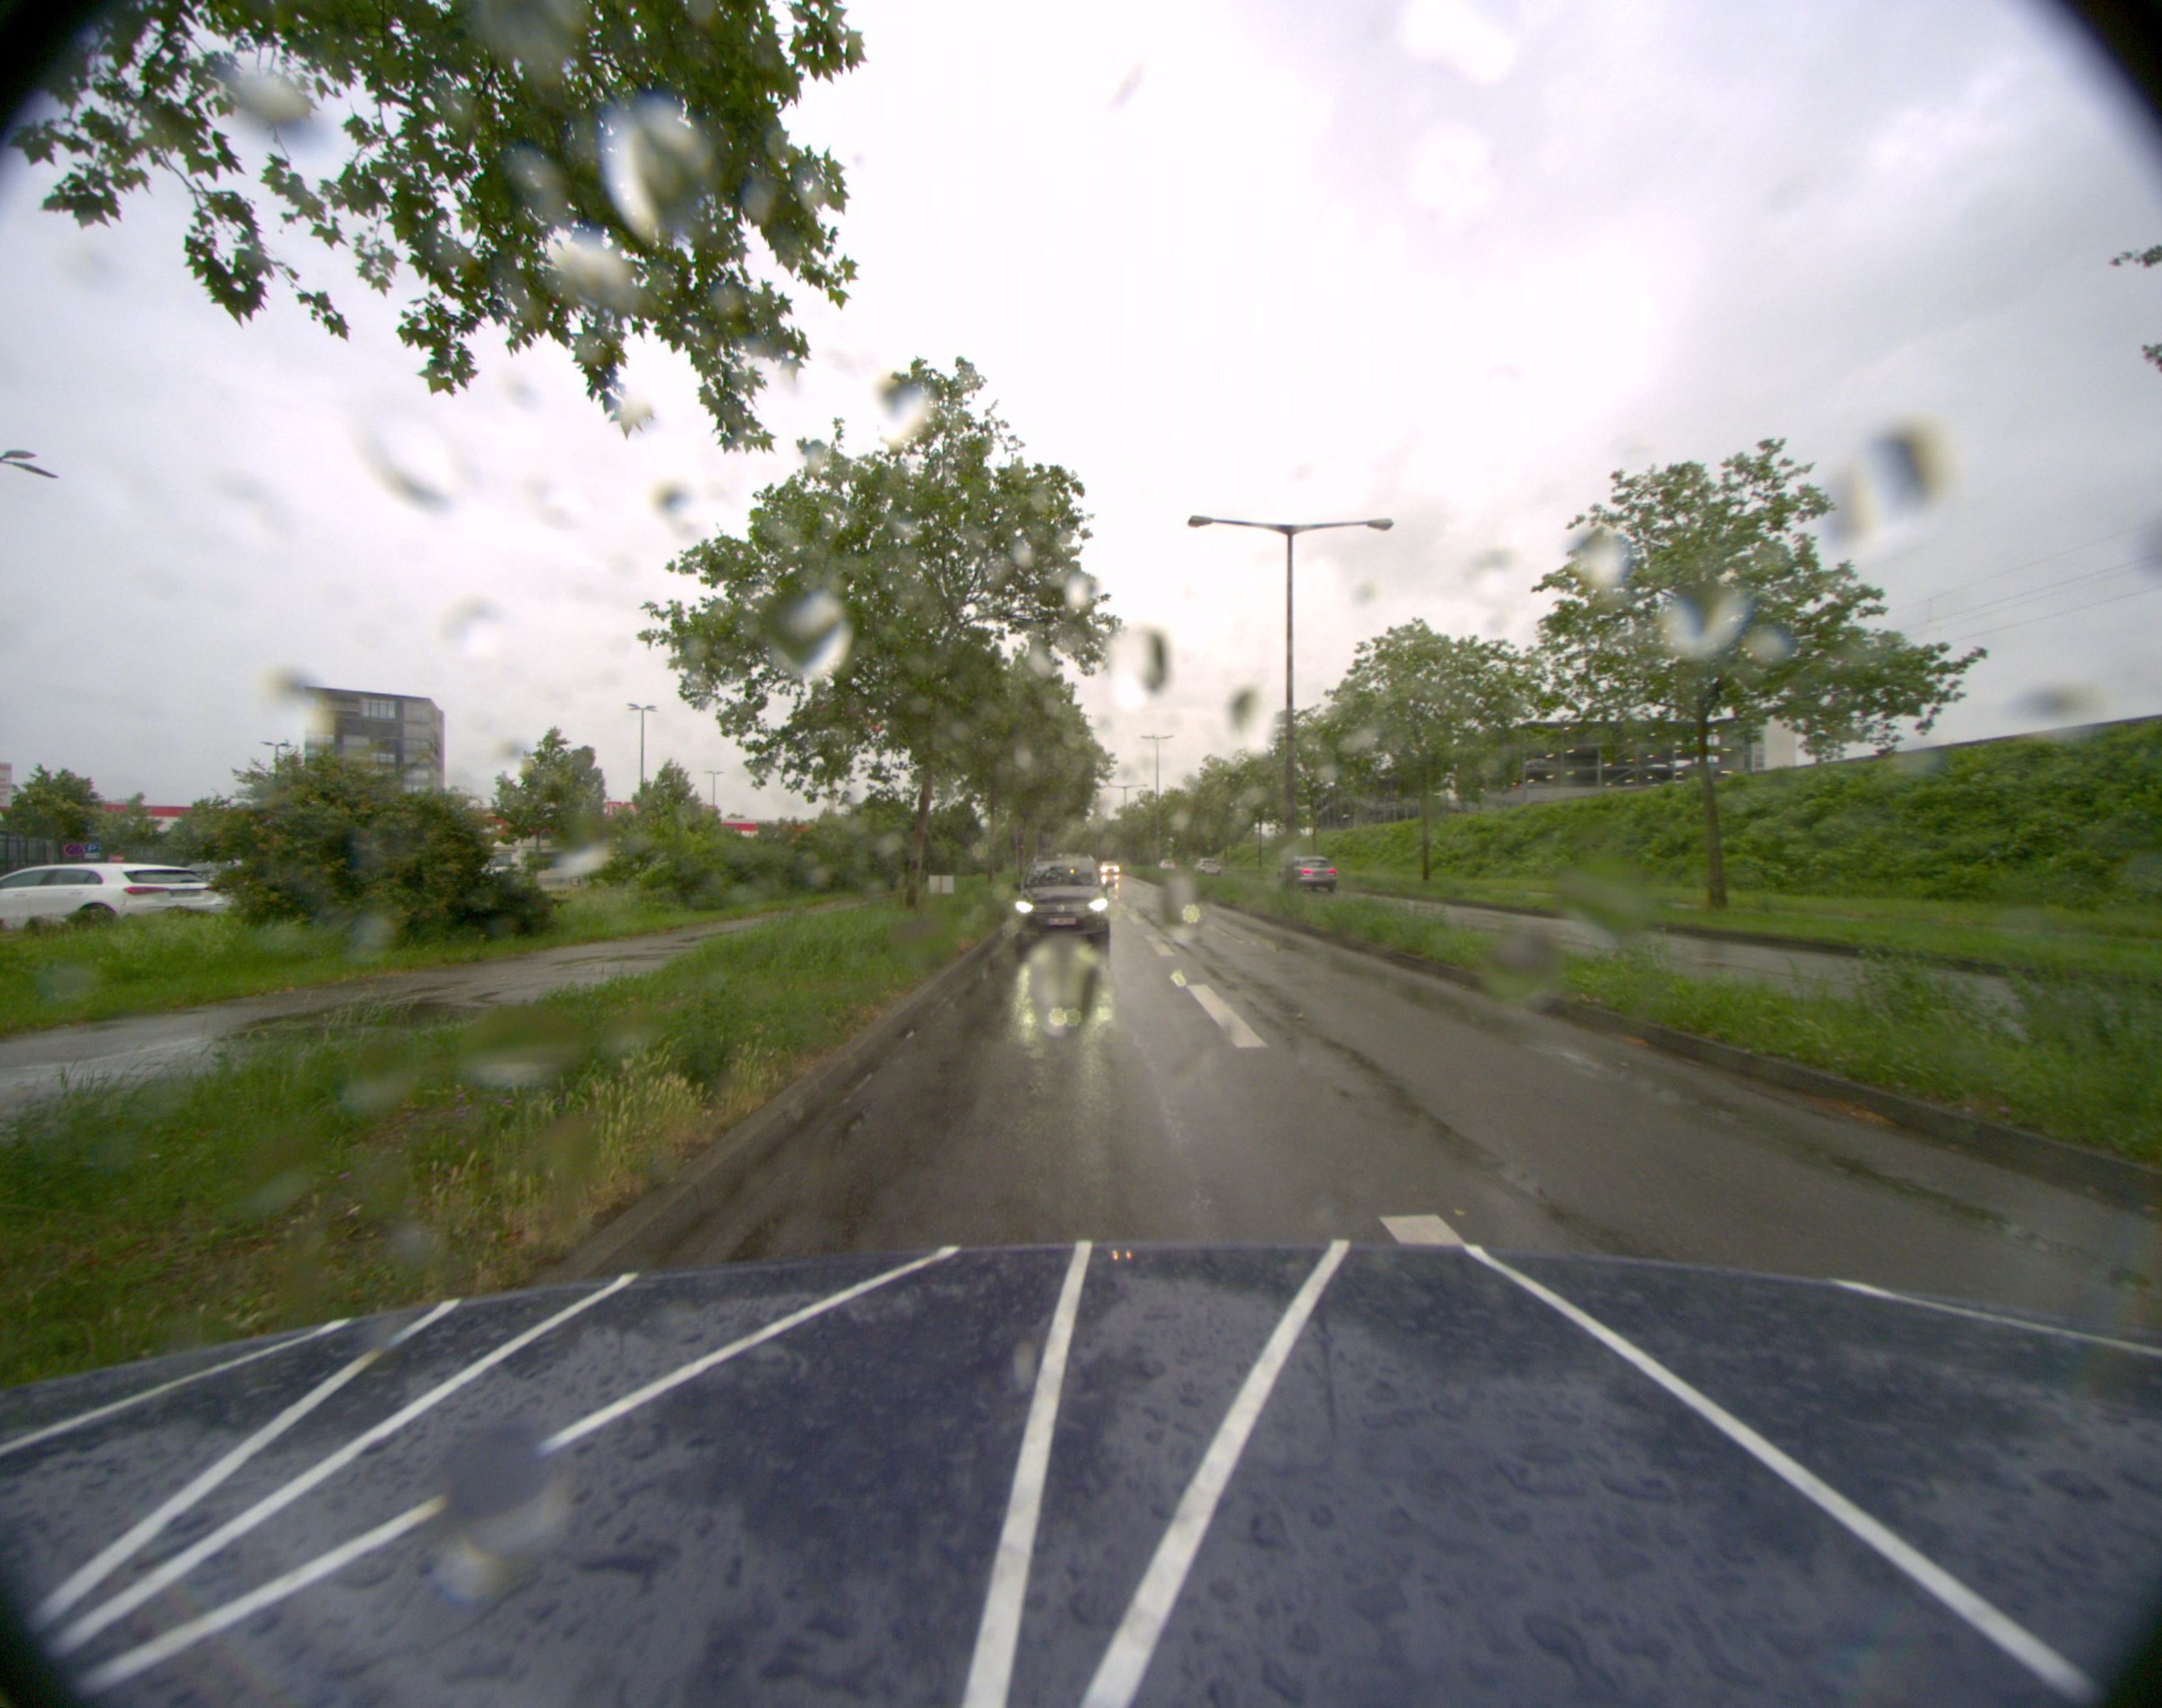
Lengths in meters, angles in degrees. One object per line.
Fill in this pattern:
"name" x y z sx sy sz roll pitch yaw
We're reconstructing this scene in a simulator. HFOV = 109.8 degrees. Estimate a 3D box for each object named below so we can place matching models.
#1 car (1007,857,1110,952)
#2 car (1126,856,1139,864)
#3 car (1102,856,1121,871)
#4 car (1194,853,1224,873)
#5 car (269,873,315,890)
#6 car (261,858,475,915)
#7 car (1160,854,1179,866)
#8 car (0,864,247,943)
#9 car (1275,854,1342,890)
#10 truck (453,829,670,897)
"car" -0.337 0.907 15.873 1.788 1.605 4.717 -2 0 2
"car" 8.682 1.012 129.021 1.936 1.436 3.707 -1 0 0
"car" 3.106 0.970 77.823 1.729 1.470 4.000 -2 0 1
"car" 10.950 0.744 65.261 1.861 1.579 4.518 0 0 1
"car" -67.291 2.340 64.864 1.864 1.348 3.866 -1 0 -33
"car" -19.963 0.883 21.432 3.998 1.357 1.999 -2 1 -3
"car" 11.316 0.764 97.233 1.936 1.436 4.657 -1 0 0
"car" -19.727 0.955 15.115 3.998 1.357 1.867 -2 1 -3
"car" 11.013 0.822 37.125 1.861 1.580 4.518 2 0 0
"truck" -19.844 0.312 29.355 6.552 2.291 2.219 -2 1 -6
